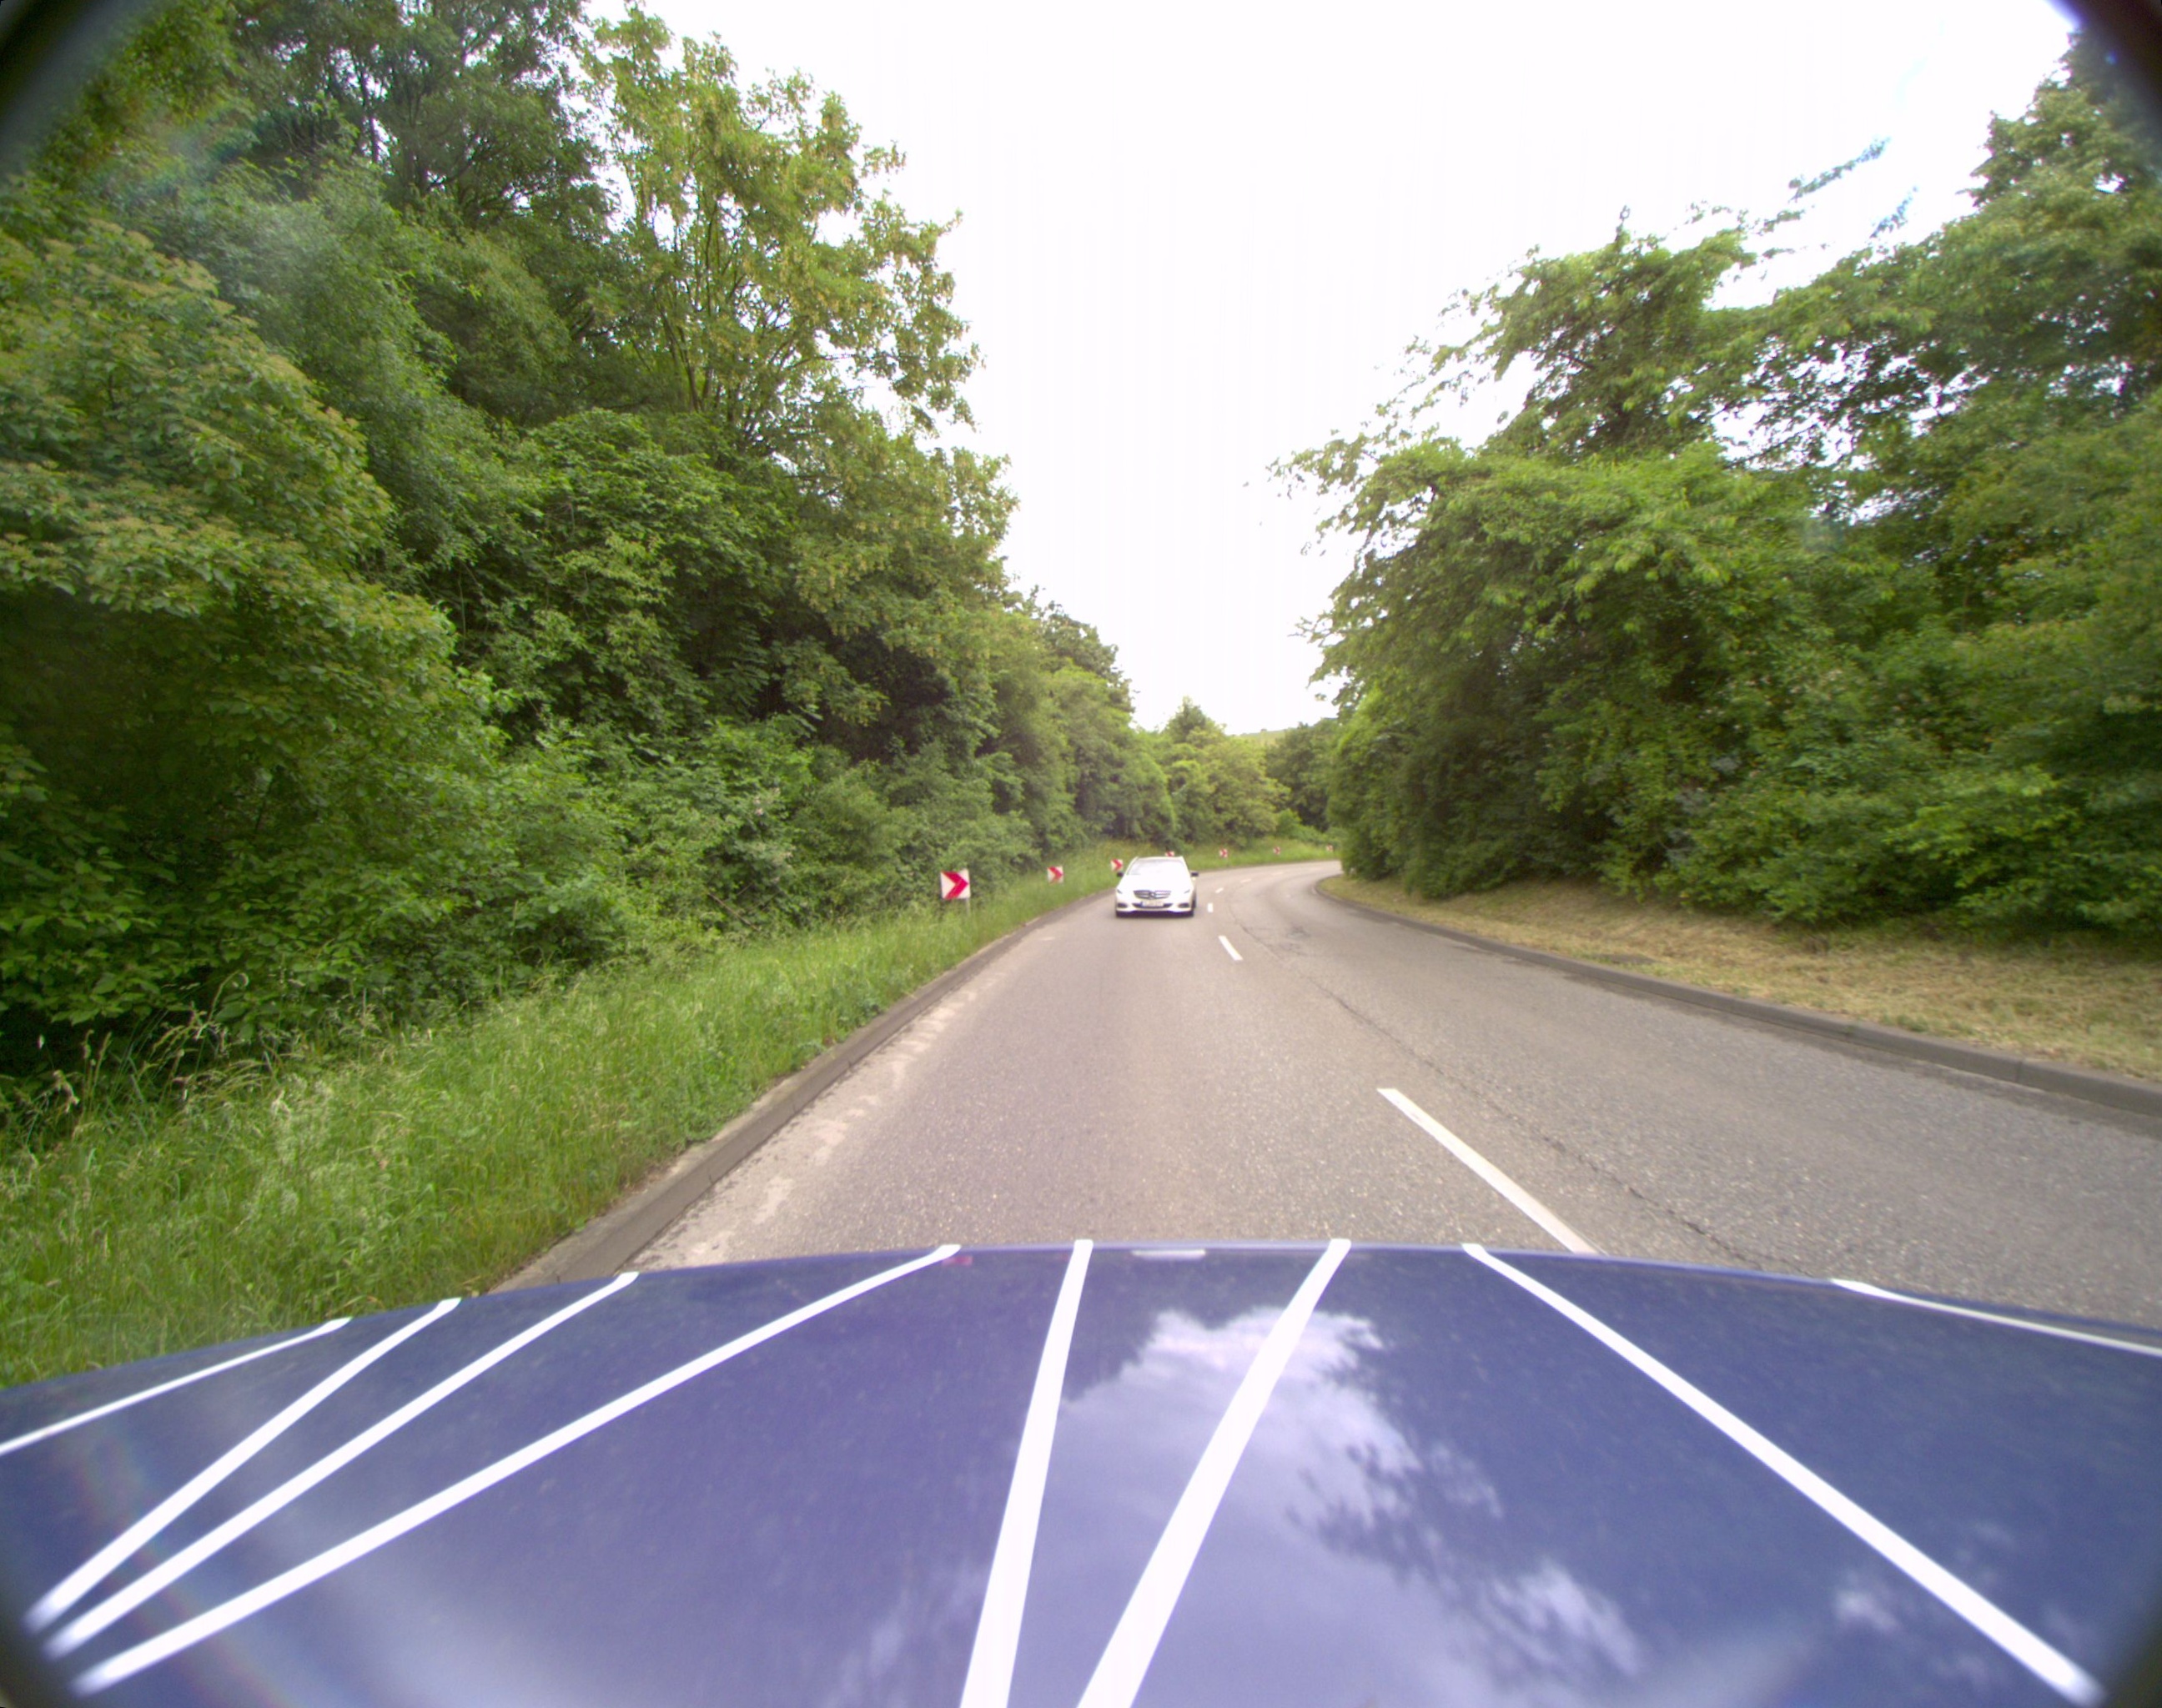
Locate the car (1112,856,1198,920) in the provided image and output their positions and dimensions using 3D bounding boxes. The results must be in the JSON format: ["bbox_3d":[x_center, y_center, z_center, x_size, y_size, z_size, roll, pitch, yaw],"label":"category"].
[{"bbox_3d":[2.023,0.791,19.600,1.865,1.423,4.358,-1,0,10],"label":"car"}]
